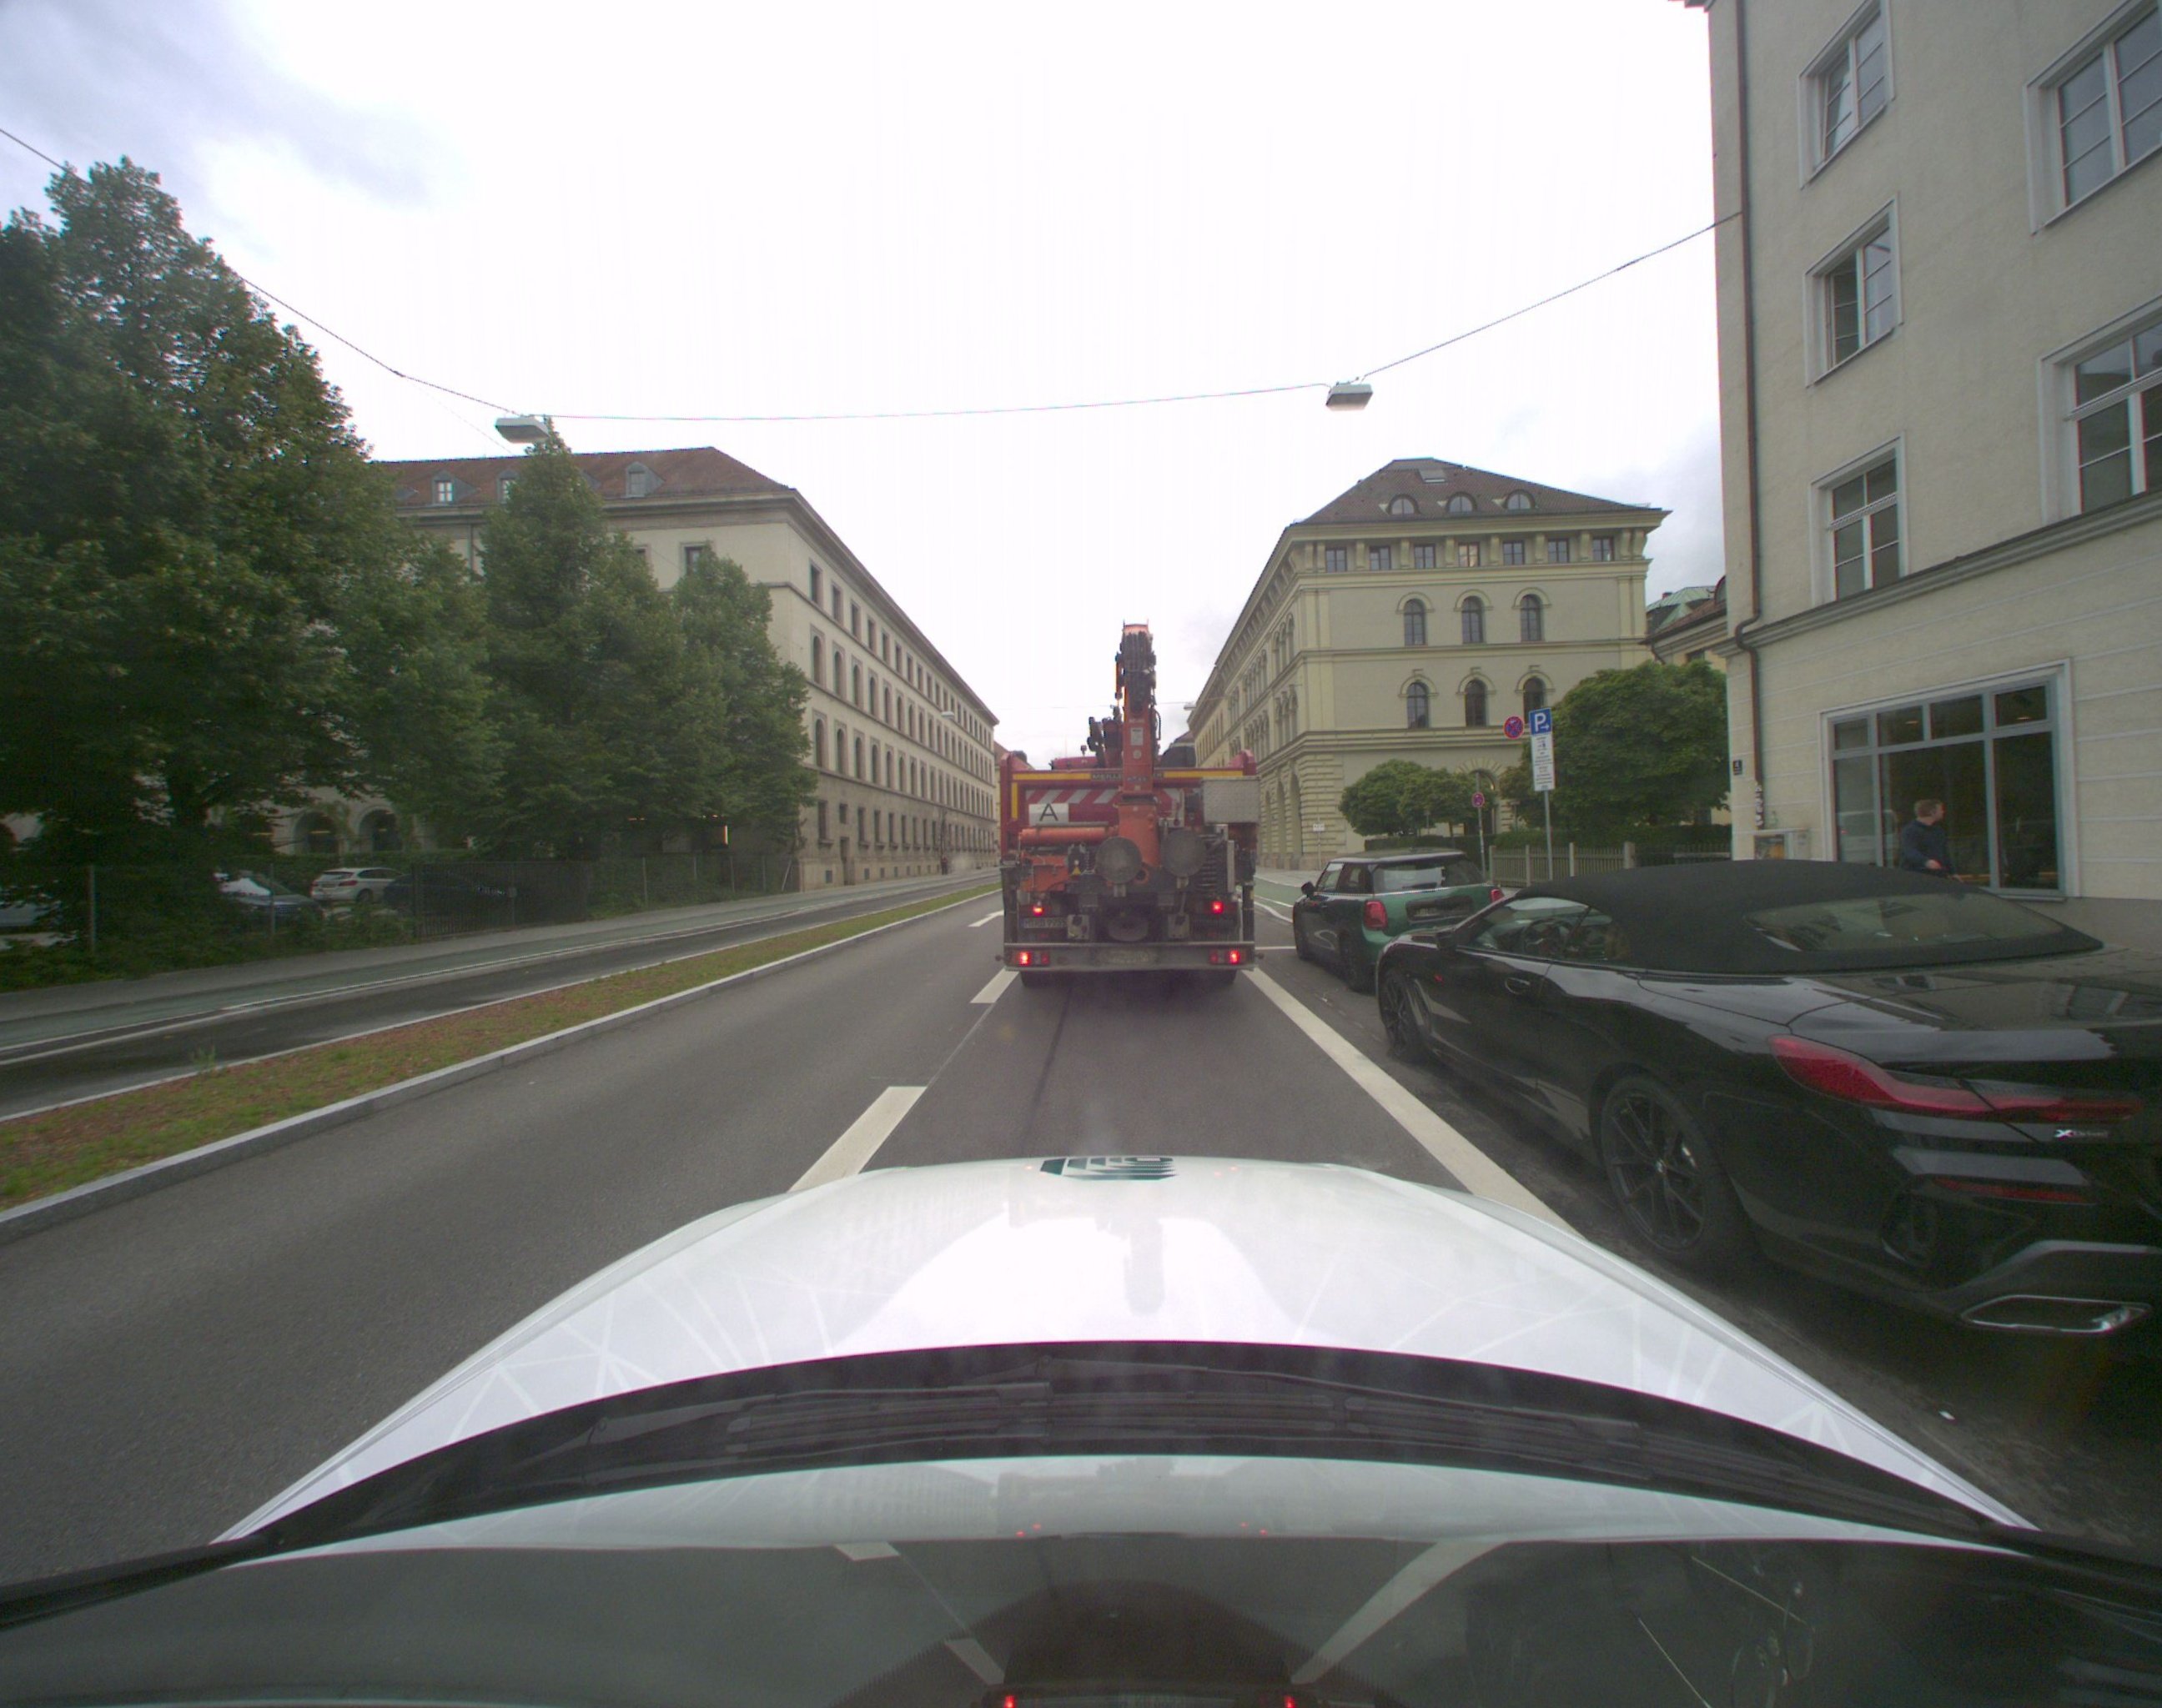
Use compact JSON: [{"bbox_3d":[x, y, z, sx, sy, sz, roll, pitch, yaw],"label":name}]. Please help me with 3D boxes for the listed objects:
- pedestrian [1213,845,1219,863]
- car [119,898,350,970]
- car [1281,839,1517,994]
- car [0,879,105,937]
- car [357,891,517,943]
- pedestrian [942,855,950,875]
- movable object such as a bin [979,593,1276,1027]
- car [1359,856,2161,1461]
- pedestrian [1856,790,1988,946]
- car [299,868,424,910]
[{"bbox_3d":[13.492,-0.005,81.210,0.444,1.836,0.556,-2,0,3],"label":"pedestrian"},{"bbox_3d":[-21.500,2.005,20.812,3.914,1.545,1.836,-1,0,0],"label":"car"},{"bbox_3d":[3.600,0.623,9.870,1.604,1.495,3.426,-2,0,2],"label":"car"},{"bbox_3d":[-31.396,1.581,23.313,1.824,1.545,4.178,-1,0,1],"label":"car"},{"bbox_3d":[-21.914,2.125,27.826,3.914,1.545,1.836,-1,0,0],"label":"car"},{"bbox_3d":[-12.349,1.000,74.381,0.586,1.831,0.499,-1,0,1],"label":"pedestrian"},{"bbox_3d":[0.468,-0.380,9.813,2.414,3.611,5.853,-1,0,1],"label":"movable object such as a bin"},{"bbox_3d":[2.926,0.733,4.139,1.673,1.386,4.429,-1,0,2],"label":"car"},{"bbox_3d":[10.433,0.164,10.135,0.787,1.836,0.778,-2,0,3],"label":"pedestrian"},{"bbox_3d":[-30.791,1.463,35.024,1.824,1.545,3.941,-1,0,1],"label":"car"}]
